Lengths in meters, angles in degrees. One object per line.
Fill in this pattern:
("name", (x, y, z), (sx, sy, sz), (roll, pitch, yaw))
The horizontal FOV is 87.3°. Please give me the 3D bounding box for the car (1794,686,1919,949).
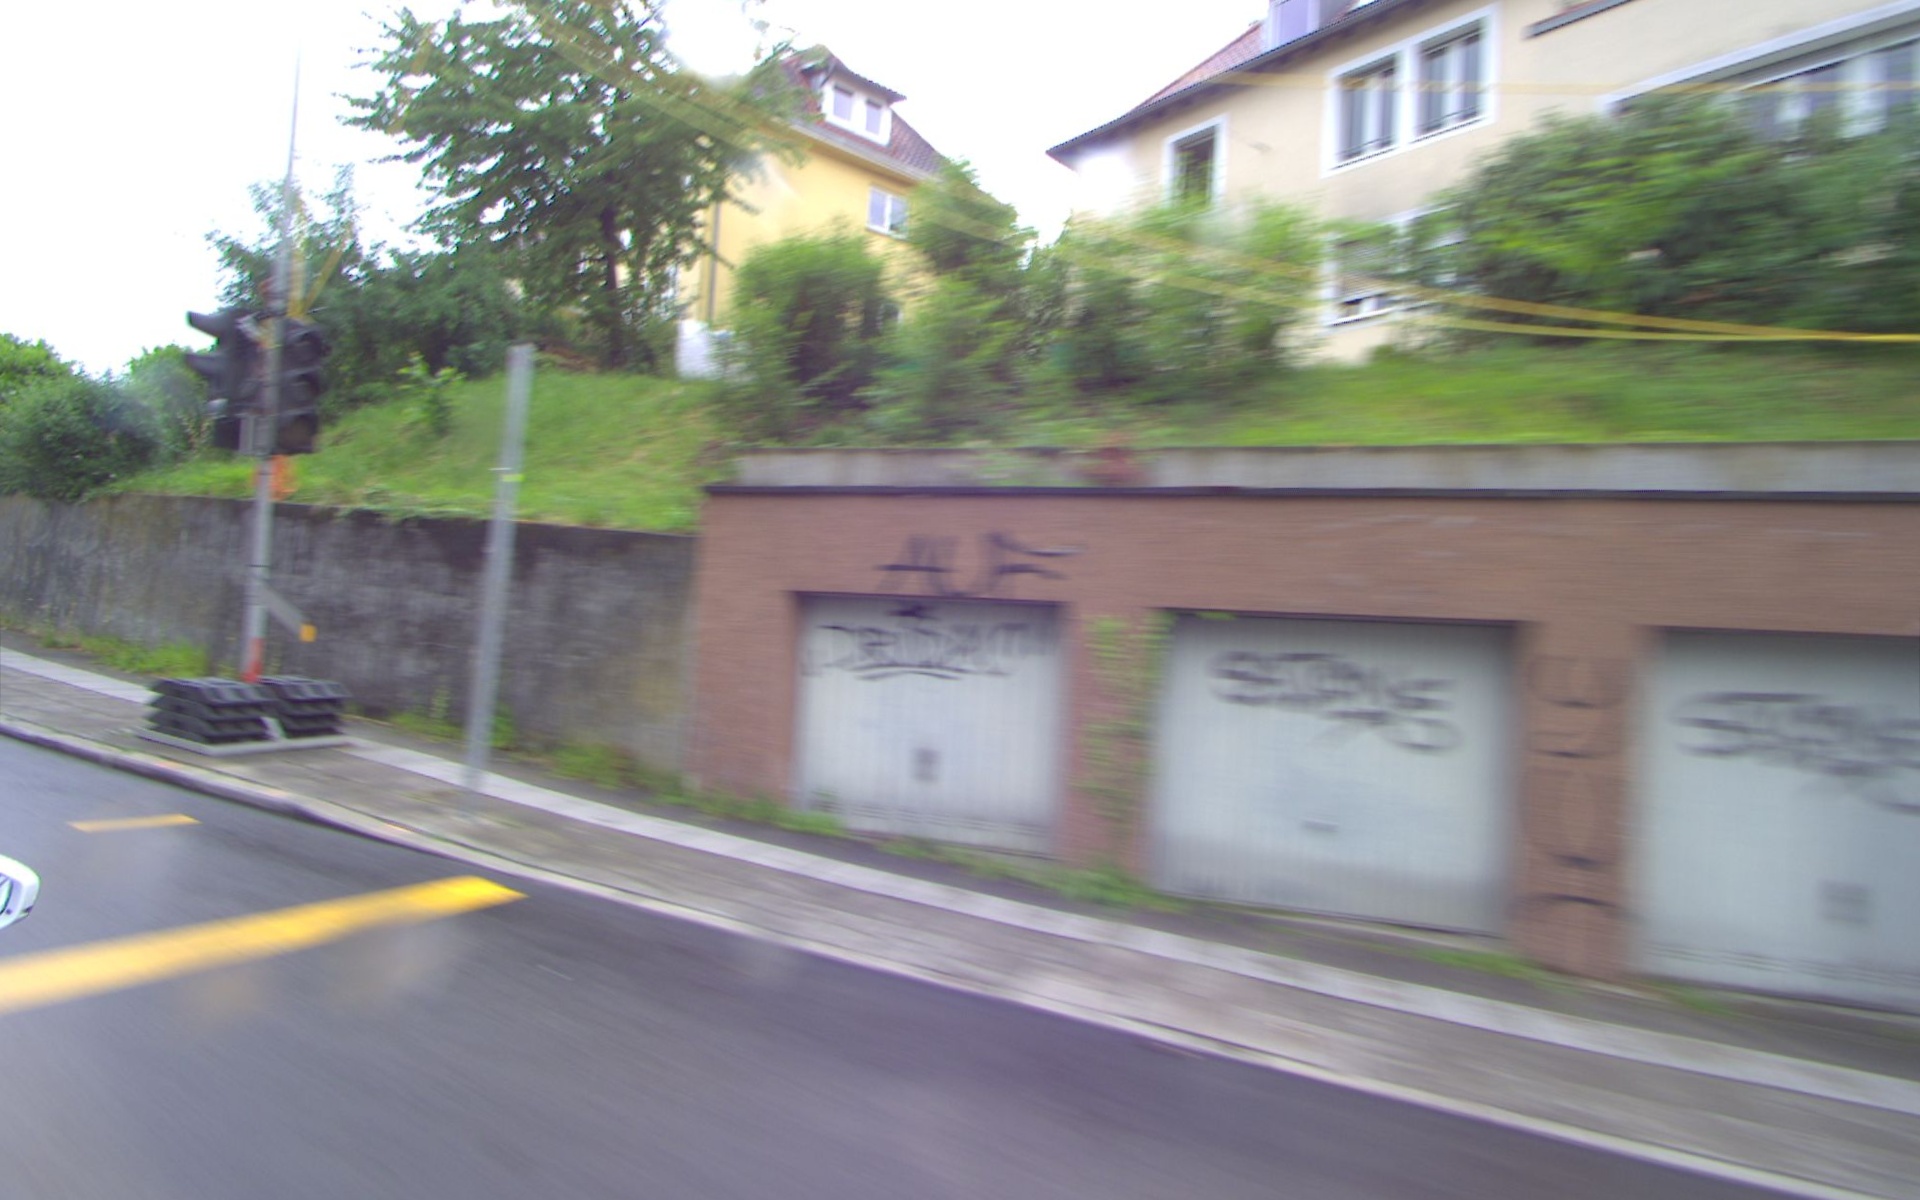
("car", (8.381, 1.743, 7.394), (1.780, 2.037, 4.394), (2, -3, 15))
